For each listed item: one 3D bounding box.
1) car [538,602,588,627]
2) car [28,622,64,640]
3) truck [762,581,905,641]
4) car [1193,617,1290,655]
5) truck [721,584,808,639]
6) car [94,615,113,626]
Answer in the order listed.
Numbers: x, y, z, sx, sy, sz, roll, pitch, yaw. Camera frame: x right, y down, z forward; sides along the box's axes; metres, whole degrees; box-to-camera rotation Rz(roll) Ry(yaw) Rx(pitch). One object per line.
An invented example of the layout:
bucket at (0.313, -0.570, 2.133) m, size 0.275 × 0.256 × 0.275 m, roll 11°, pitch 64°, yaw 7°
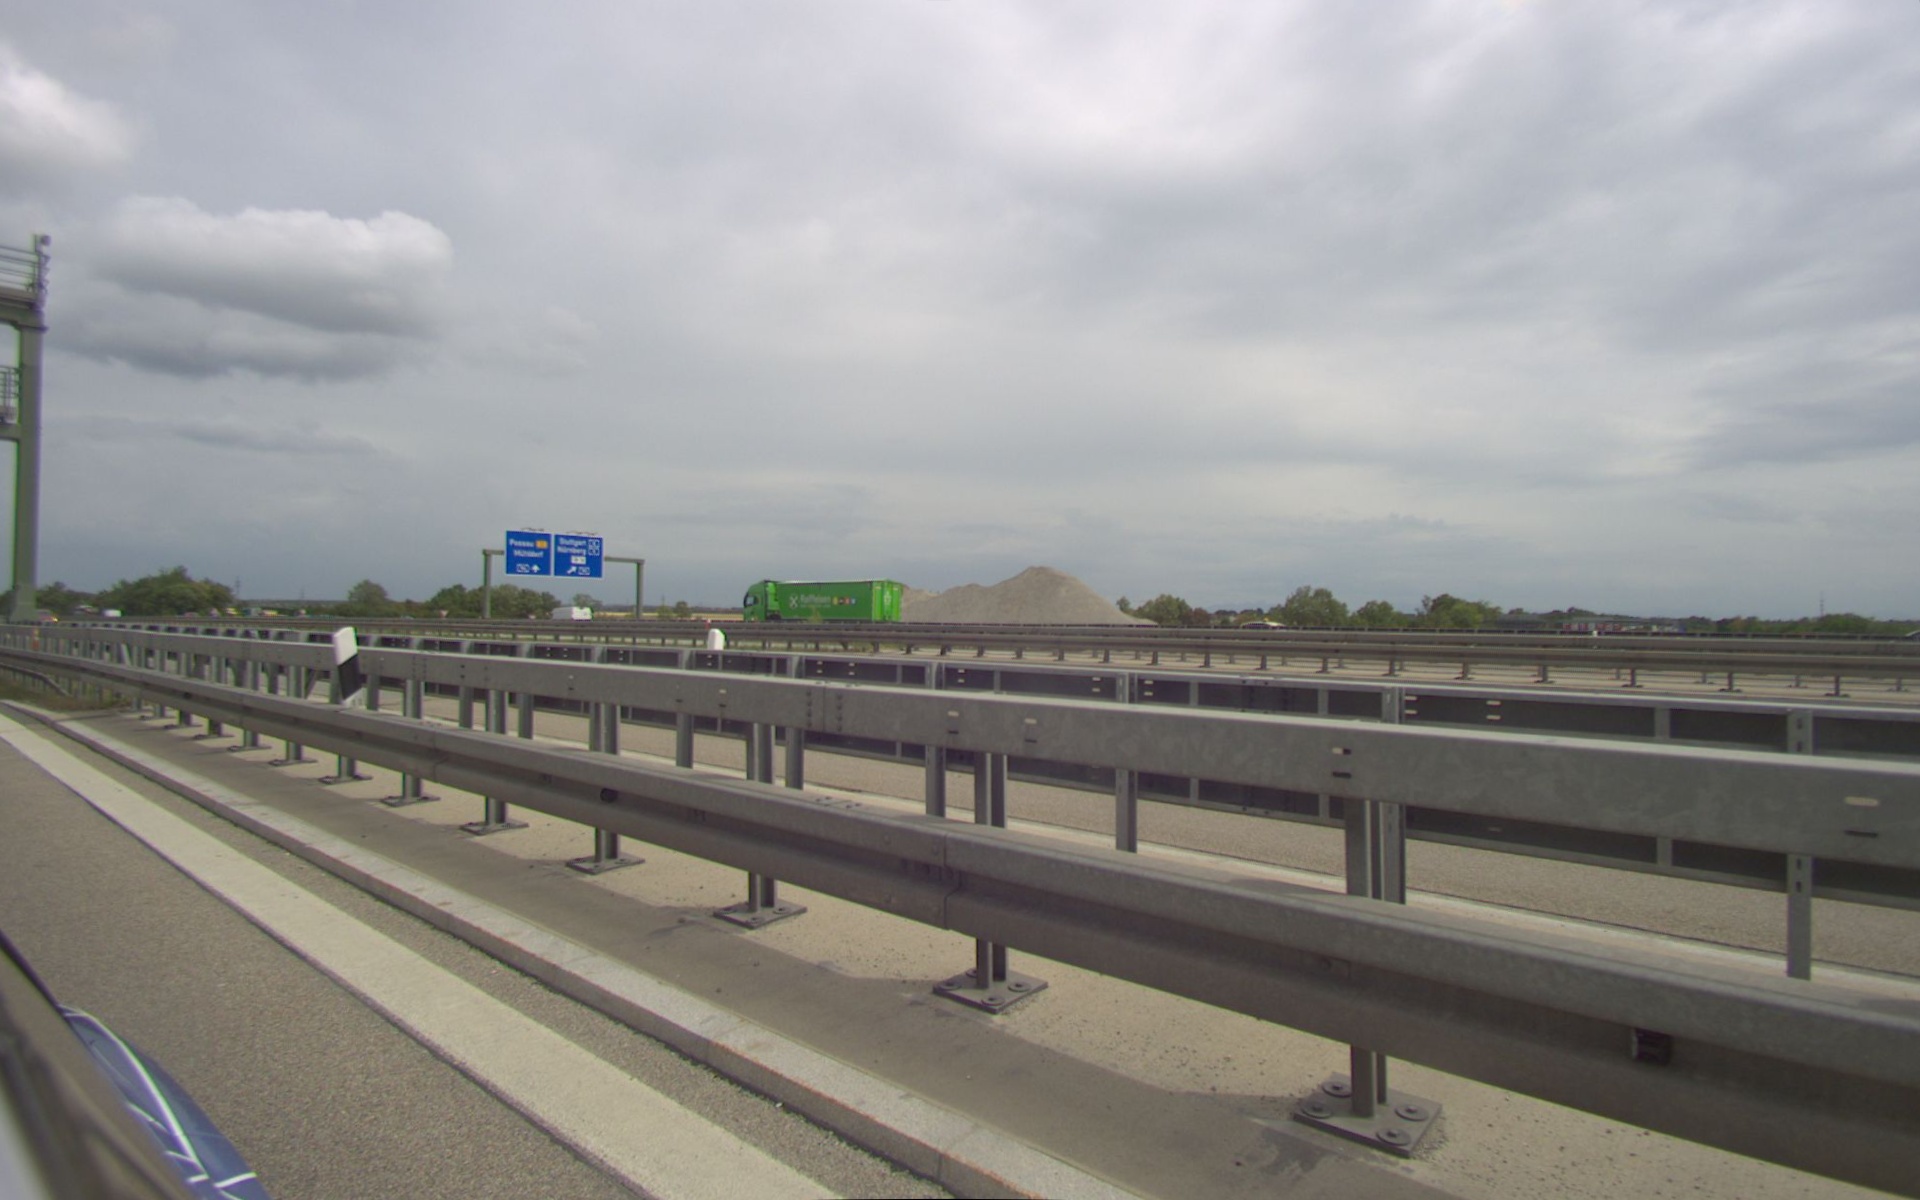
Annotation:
car at (-38.066, 1.382, 97.014) m, size 5.514 × 2.240 × 2.173 m, roll -1°, pitch 0°, yaw 41°
car at (-82.294, 2.775, 91.140) m, size 4.351 × 1.557 × 1.801 m, roll -1°, pitch 0°, yaw 40°
truck at (-8.403, 0.711, 65.944) m, size 10.431 × 3.662 × 2.982 m, roll -1°, pitch 0°, yaw 41°
car at (12.945, 1.624, 46.679) m, size 3.999 × 1.641 × 1.711 m, roll -1°, pitch -1°, yaw 42°
truck at (-13.682, 0.795, 70.588) m, size 5.891 × 3.636 × 3.010 m, roll -1°, pitch -1°, yaw 41°
car at (-163.549, 3.921, 193.241) m, size 4.747 × 1.874 × 2.080 m, roll -1°, pitch 0°, yaw 40°
